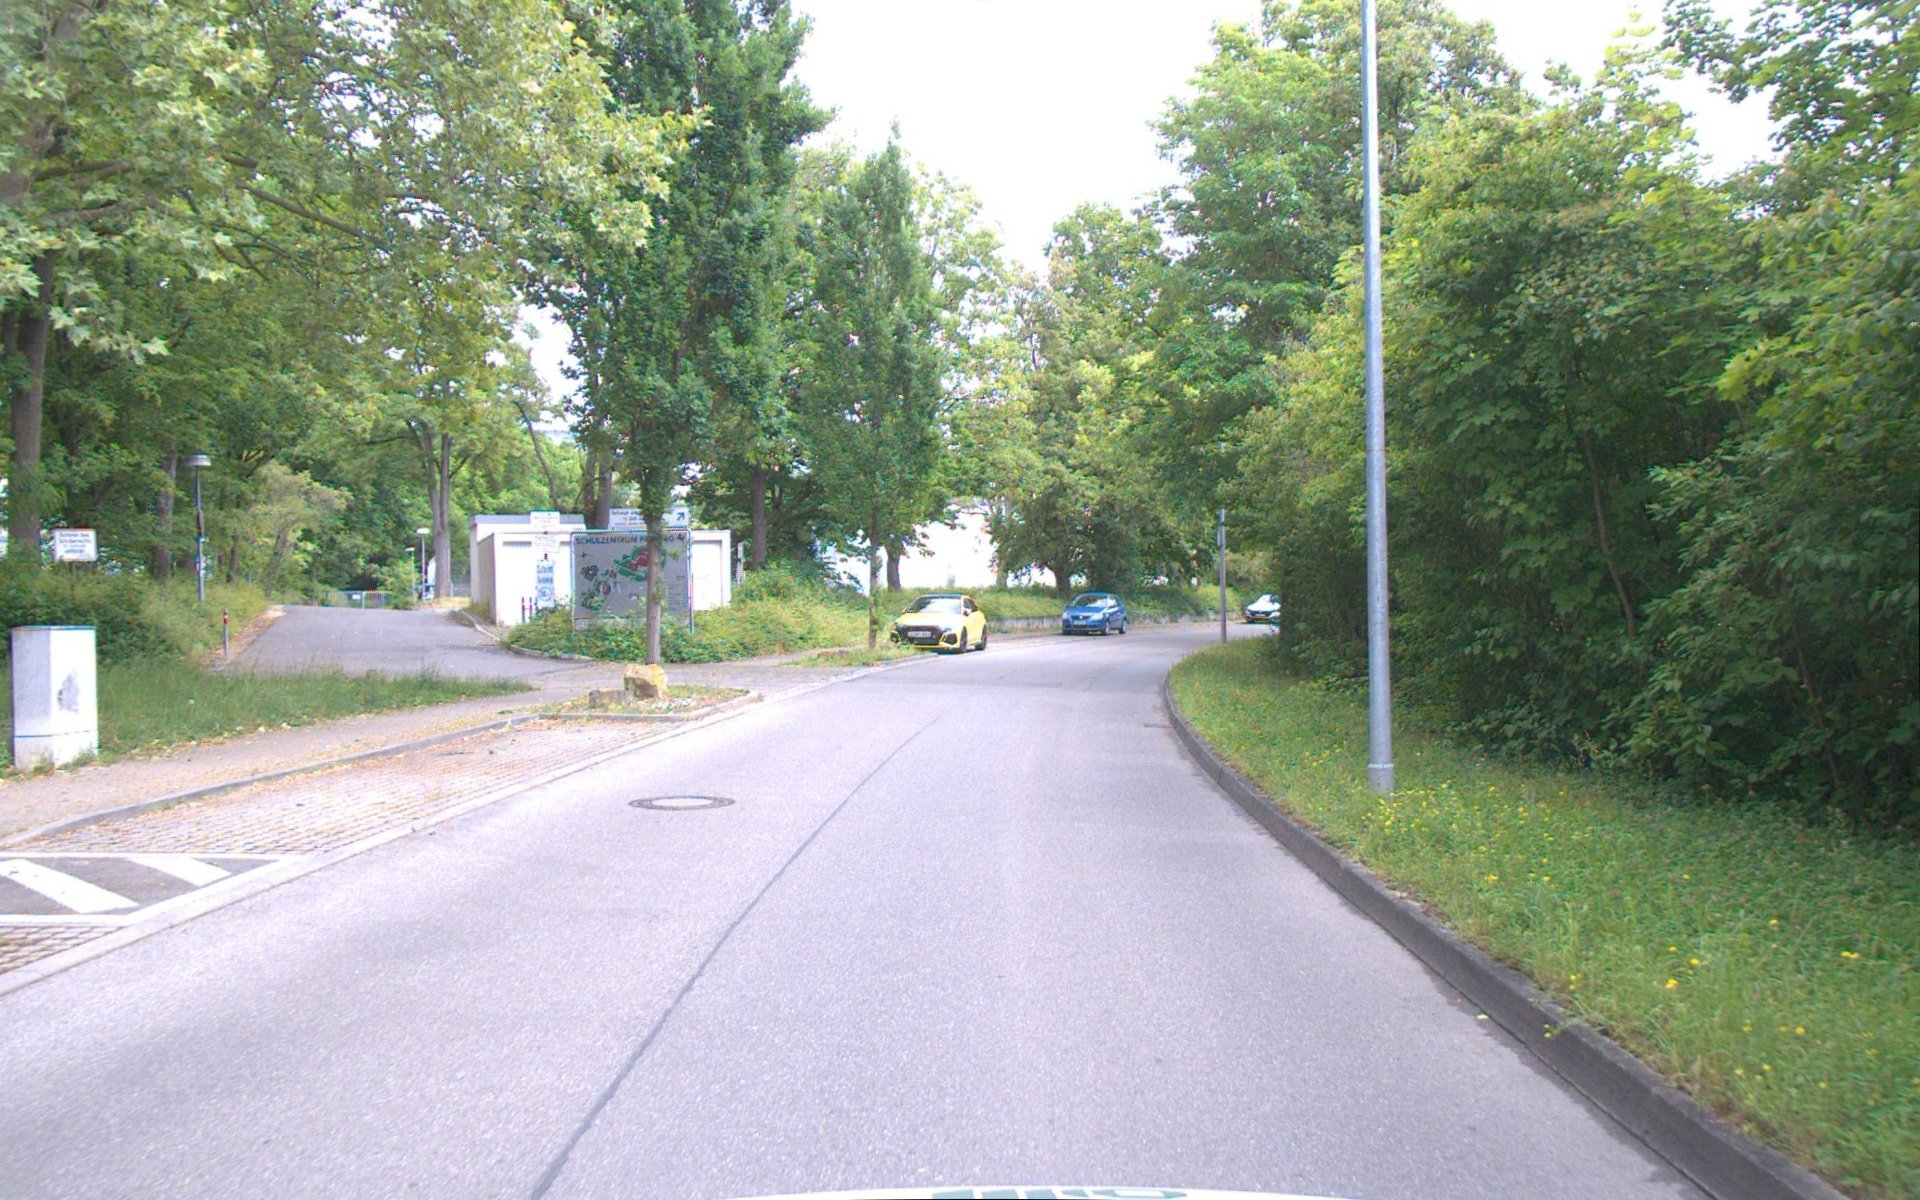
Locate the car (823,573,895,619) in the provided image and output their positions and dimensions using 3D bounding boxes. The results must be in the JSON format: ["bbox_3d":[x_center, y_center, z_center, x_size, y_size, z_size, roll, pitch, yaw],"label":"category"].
[{"bbox_3d":[-3.812,-0.147,61.894,1.714,1.650,3.853,-1,1,-18],"label":"car"}]

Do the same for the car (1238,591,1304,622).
[{"bbox_3d":[14.999,0.289,79.576,1.780,1.449,4.351,1,0,30],"label":"car"}]

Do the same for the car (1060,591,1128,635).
[{"bbox_3d":[4.812,0.443,59.023,1.501,1.484,3.721,0,0,19],"label":"car"}]

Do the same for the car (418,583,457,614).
[{"bbox_3d":[-30.957,-0.083,98.004,1.840,1.777,3.987,-1,1,-13],"label":"car"}]

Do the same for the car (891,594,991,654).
[{"bbox_3d":[-0.418,0.582,41.921,1.664,1.427,4.277,0,0,11],"label":"car"}]
